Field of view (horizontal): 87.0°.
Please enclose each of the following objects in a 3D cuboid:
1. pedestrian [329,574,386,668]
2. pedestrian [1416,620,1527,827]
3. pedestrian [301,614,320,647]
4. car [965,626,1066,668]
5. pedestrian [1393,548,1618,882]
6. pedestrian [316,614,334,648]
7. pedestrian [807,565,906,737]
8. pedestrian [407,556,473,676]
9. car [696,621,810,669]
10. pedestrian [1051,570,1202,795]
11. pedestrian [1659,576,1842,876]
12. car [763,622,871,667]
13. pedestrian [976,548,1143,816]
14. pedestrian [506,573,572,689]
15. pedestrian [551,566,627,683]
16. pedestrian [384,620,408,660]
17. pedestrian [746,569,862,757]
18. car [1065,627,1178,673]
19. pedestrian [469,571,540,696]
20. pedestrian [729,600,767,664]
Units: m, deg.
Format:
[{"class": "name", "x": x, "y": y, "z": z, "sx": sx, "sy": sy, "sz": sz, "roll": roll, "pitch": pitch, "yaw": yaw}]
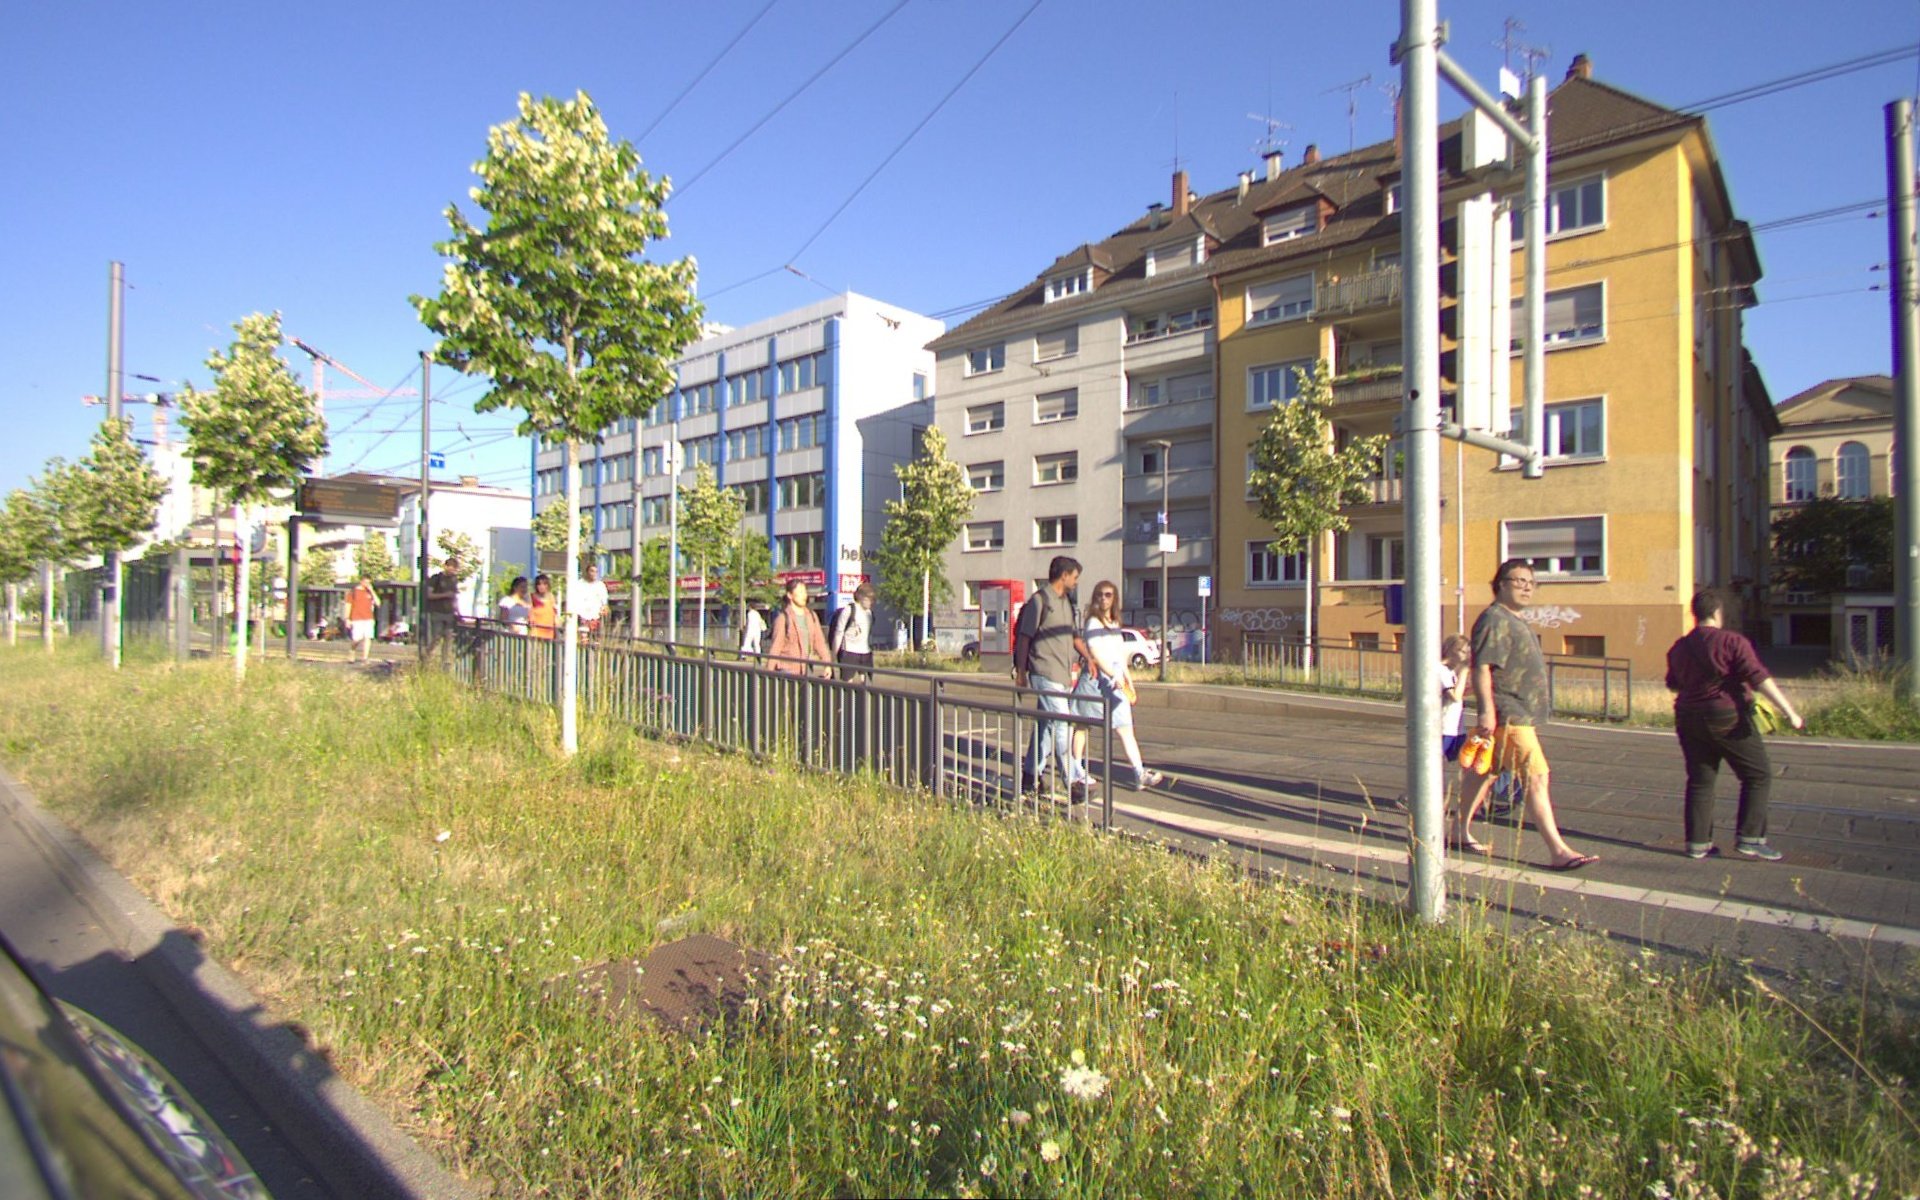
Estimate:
[{"class": "pedestrian", "x": -11.269, "y": 0.386, "z": 18.923, "sx": 0.620, "sy": 1.711, "sz": 0.776, "roll": -1, "pitch": 0, "yaw": 44}, {"class": "pedestrian", "x": 3.616, "y": 0.833, "z": 7.151, "sx": 0.607, "sy": 1.370, "sz": 0.589, "roll": -1, "pitch": -2, "yaw": 37}, {"class": "pedestrian", "x": -33.613, "y": 1.575, "z": 52.385, "sx": 0.772, "sy": 1.705, "sz": 0.651, "roll": -1, "pitch": 0, "yaw": 44}, {"class": "car", "x": 2.193, "y": 1.855, "z": 40.468, "sx": 3.672, "sy": 1.519, "sz": 1.861, "roll": -1, "pitch": 0, "yaw": 41}, {"class": "pedestrian", "x": 3.197, "y": 0.606, "z": 5.958, "sx": 0.763, "sy": 1.771, "sz": 0.902, "roll": -1, "pitch": 0, "yaw": -35}, {"class": "pedestrian", "x": -31.902, "y": 1.552, "z": 50.841, "sx": 0.650, "sy": 1.705, "sz": 0.773, "roll": -1, "pitch": 0, "yaw": -43}, {"class": "pedestrian", "x": -1.046, "y": 0.490, "z": 10.265, "sx": 0.619, "sy": 1.653, "sz": 0.778, "roll": -1, "pitch": 0, "yaw": 39}, {"class": "pedestrian", "x": -8.361, "y": 0.250, "z": 16.282, "sx": 0.620, "sy": 1.878, "sz": 0.776, "roll": -1, "pitch": 0, "yaw": 44}, {"class": "car", "x": -7.214, "y": 1.514, "z": 35.136, "sx": 3.941, "sy": 1.519, "sz": 1.861, "roll": -1, "pitch": 0, "yaw": 41}, {"class": "pedestrian", "x": 1.322, "y": 0.610, "z": 8.031, "sx": 0.899, "sy": 1.653, "sz": 0.778, "roll": -1, "pitch": 0, "yaw": 39}, {"class": "pedestrian", "x": 4.577, "y": 0.673, "z": 5.892, "sx": 0.787, "sy": 1.600, "sz": 0.600, "roll": -1, "pitch": 0, "yaw": 38}, {"class": "car", "x": -5.328, "y": 1.619, "z": 37.577, "sx": 3.941, "sy": 1.519, "sz": 1.861, "roll": -1, "pitch": 0, "yaw": 41}, {"class": "pedestrian", "x": 0.728, "y": 0.538, "z": 7.452, "sx": 0.900, "sy": 1.814, "sz": 0.777, "roll": 3, "pitch": 2, "yaw": 42}, {"class": "pedestrian", "x": -5.426, "y": 0.383, "z": 13.038, "sx": 0.629, "sy": 1.442, "sz": 0.525, "roll": -1, "pitch": 0, "yaw": -45}, {"class": "pedestrian", "x": -5.113, "y": 0.322, "z": 13.944, "sx": 0.620, "sy": 1.560, "sz": 0.776, "roll": -1, "pitch": 0, "yaw": 44}, {"class": "pedestrian", "x": -24.577, "y": 1.734, "z": 44.103, "sx": 0.771, "sy": 1.705, "sz": 0.651, "roll": -1, "pitch": 0, "yaw": 39}, {"class": "pedestrian", "x": -1.359, "y": 0.519, "z": 8.857, "sx": 0.776, "sy": 1.547, "sz": 0.620, "roll": -1, "pitch": 0, "yaw": -45}, {"class": "car", "x": 5.937, "y": 1.806, "z": 37.366, "sx": 3.672, "sy": 1.519, "sz": 1.861, "roll": -1, "pitch": 0, "yaw": 41}, {"class": "pedestrian", "x": -5.536, "y": 0.397, "z": 12.311, "sx": 0.525, "sy": 1.467, "sz": 0.629, "roll": -1, "pitch": 0, "yaw": 43}, {"class": "pedestrian", "x": -5.702, "y": 0.856, "z": 27.211, "sx": 0.620, "sy": 1.685, "sz": 0.776, "roll": -1, "pitch": 0, "yaw": 44}]
